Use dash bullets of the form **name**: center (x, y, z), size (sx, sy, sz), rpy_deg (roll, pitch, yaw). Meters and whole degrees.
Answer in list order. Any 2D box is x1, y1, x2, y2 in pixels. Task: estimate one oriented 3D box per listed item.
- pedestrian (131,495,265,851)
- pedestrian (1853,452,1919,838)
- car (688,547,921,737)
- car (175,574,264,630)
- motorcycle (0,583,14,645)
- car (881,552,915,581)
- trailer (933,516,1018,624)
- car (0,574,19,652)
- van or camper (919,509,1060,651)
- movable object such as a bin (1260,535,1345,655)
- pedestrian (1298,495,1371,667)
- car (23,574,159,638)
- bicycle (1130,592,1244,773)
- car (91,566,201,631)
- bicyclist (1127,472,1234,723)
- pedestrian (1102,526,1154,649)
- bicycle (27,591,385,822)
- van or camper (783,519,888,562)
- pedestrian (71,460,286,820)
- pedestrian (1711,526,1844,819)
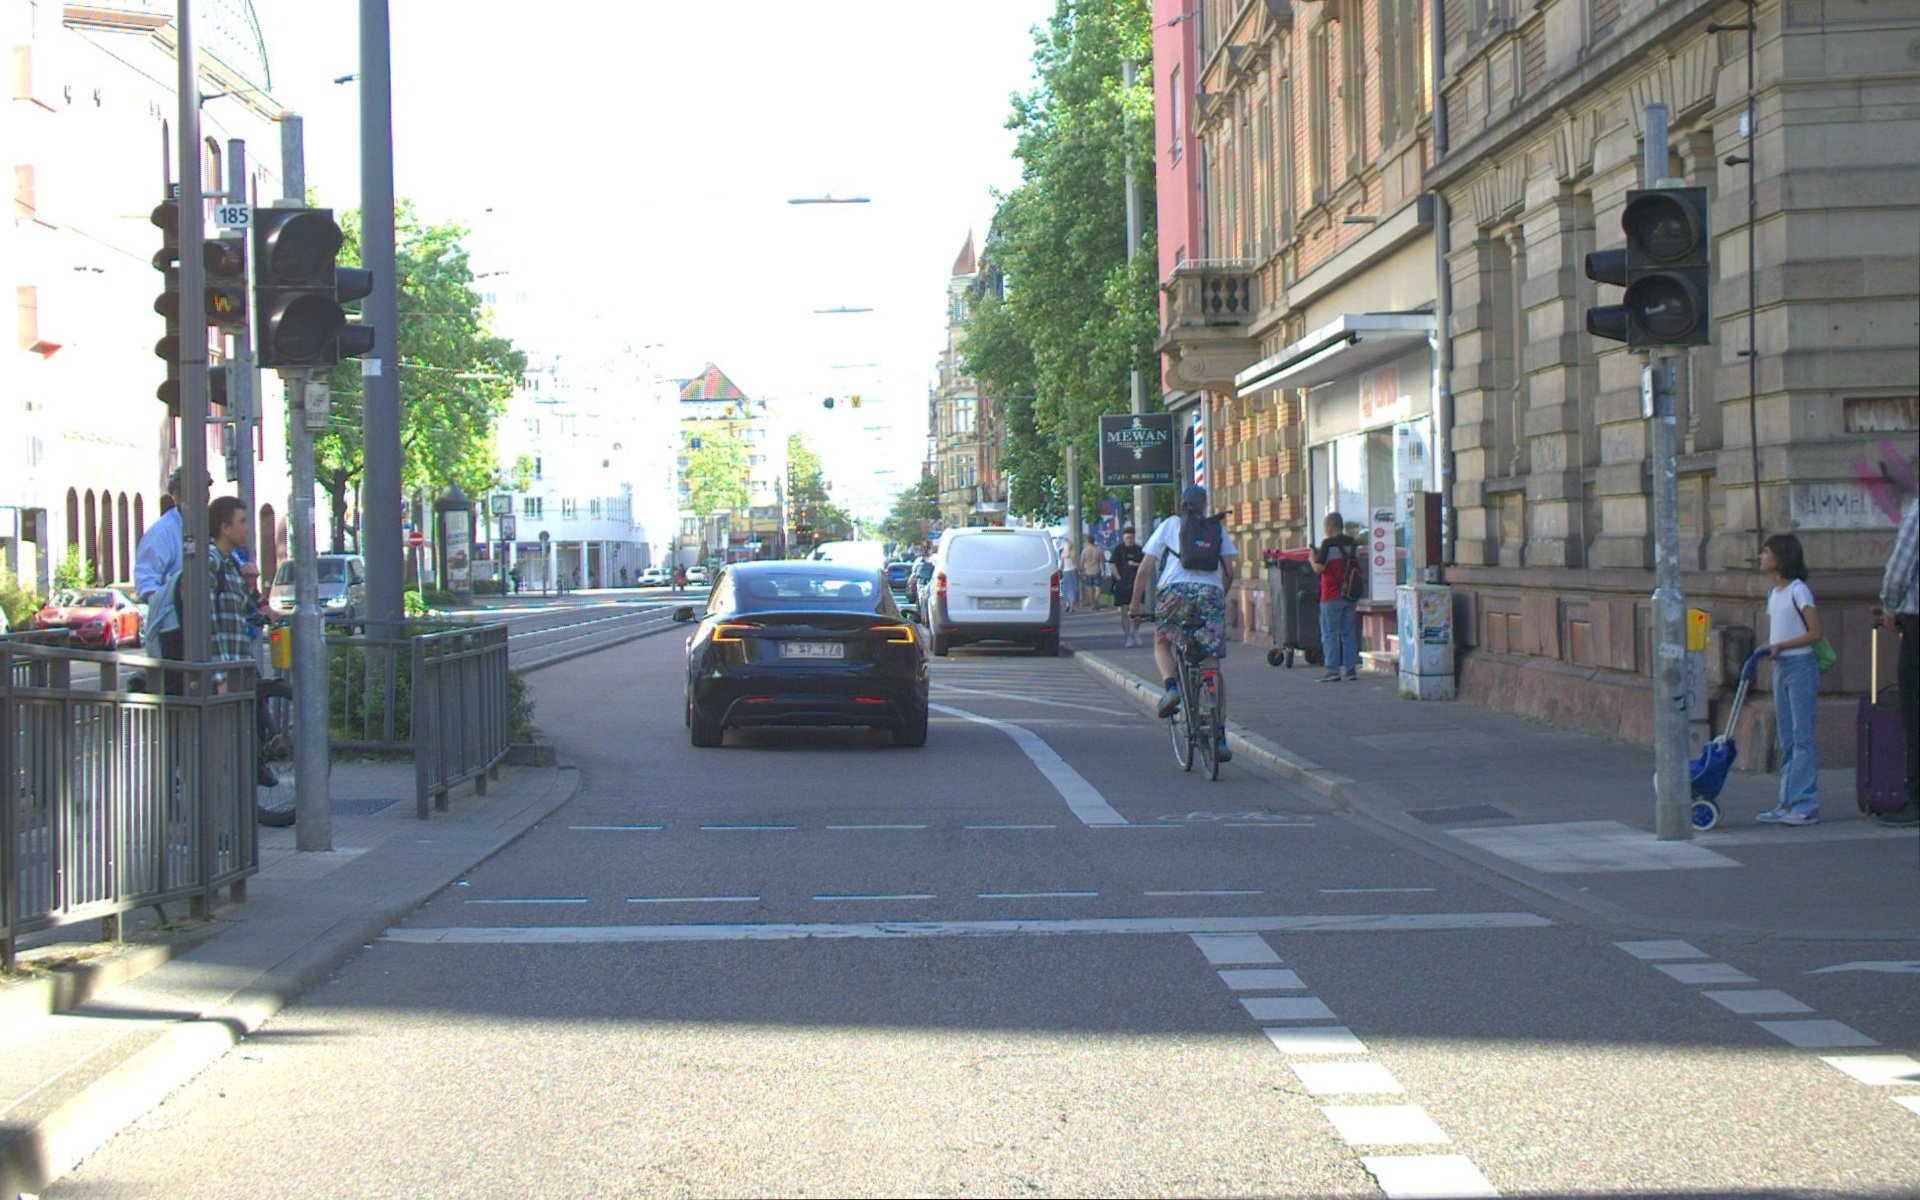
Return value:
- **pedestrian**: center (-3.489, 0.323, 15.776), size (0.517, 1.585, 0.667), rpy_deg (2, 0, -10)
- **pedestrian**: center (4.808, 0.191, 16.465), size (0.847, 1.801, 0.876), rpy_deg (-1, 2, 4)
- **car**: center (-1.224, 0.283, 27.381), size (1.719, 1.400, 3.710), rpy_deg (0, 1, -2)
- **car**: center (-19.562, 0.043, 90.940), size (1.659, 1.417, 3.620), rpy_deg (0, 1, -1)
- **motorcycle**: center (-20.635, 0.297, 73.123), size (0.519, 1.293, 2.082), rpy_deg (1, 1, -2)
- **car**: center (-3.123, -1.699, 173.720), size (1.593, 1.428, 3.686), rpy_deg (-2, 0, 0)
- **trailer**: center (0.309, -0.615, 69.697), size (1.661, 2.109, 3.842), rpy_deg (1, 0, 0)
- **car**: center (-18.997, 0.262, 64.539), size (1.751, 1.469, 4.208), rpy_deg (-1, 1, -4)
- **van or camper**: center (0.394, -0.288, 52.287), size (1.931, 2.030, 5.476), rpy_deg (0, 0, -2)
- **movable object such as a bin**: center (3.907, -0.064, 39.313), size (0.775, 1.343, 1.299), rpy_deg (-1, 0, -3)
- **pedestrian**: center (3.809, -0.201, 34.940), size (0.470, 1.722, 0.586), rpy_deg (-1, 2, 35)
- **car**: center (-19.118, 0.116, 75.831), size (1.960, 1.321, 4.821), rpy_deg (0, 1, -2)
- **bicycle**: center (1.504, 0.524, 23.039), size (0.647, 1.135, 2.095), rpy_deg (0, 1, 1)
- **car**: center (-19.258, -0.061, 81.438), size (1.669, 1.463, 4.290), rpy_deg (0, 1, -1)
- **bicyclist**: center (1.475, -0.019, 23.129), size (0.655, 1.650, 0.927), rpy_deg (0, 0, 1)
- **pedestrian**: center (2.489, -0.187, 50.955), size (0.672, 1.808, 0.756), rpy_deg (-1, 0, -2)
- **bicycle**: center (-3.963, 0.535, 18.001), size (1.942, 1.090, 0.598), rpy_deg (3, 1, 33)
- **van or camper**: center (-8.225, -3.934, 227.062), size (6.860, 2.645, 2.146), rpy_deg (-2, 1, -37)
- **pedestrian**: center (-4.061, 0.194, 17.897), size (0.594, 1.815, 0.940), rpy_deg (1, 1, 32)
- **pedestrian**: center (4.025, 0.347, 16.954), size (0.574, 1.410, 0.580), rpy_deg (1, 1, 9)
